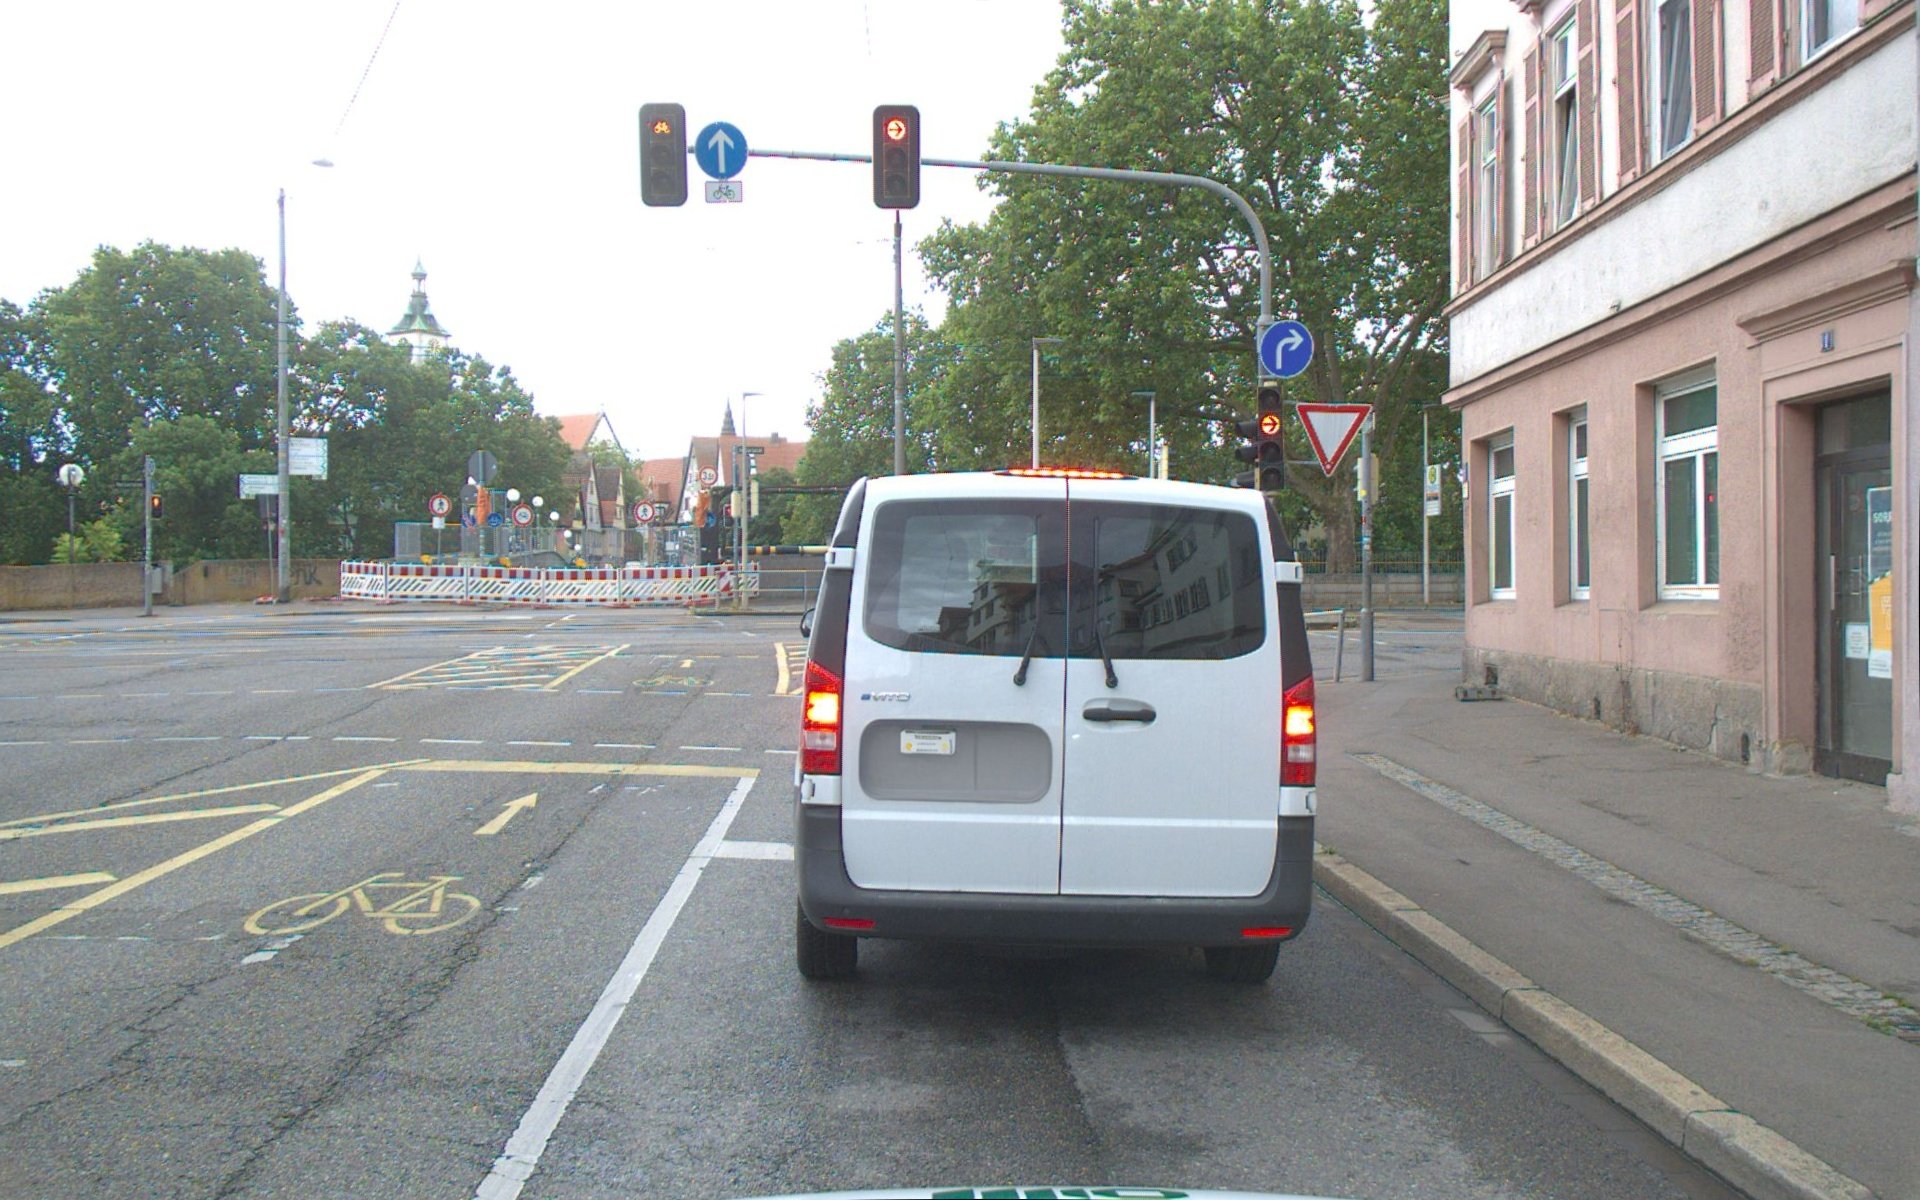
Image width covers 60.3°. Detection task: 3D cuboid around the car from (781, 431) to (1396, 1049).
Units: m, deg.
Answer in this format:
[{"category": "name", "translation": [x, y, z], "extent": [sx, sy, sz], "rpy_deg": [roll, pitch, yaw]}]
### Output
[{"category": "car", "translation": [0.284, 0.381, 7.411], "extent": [1.954, 1.956, 4.246], "rpy_deg": [1, 2, -4]}]
